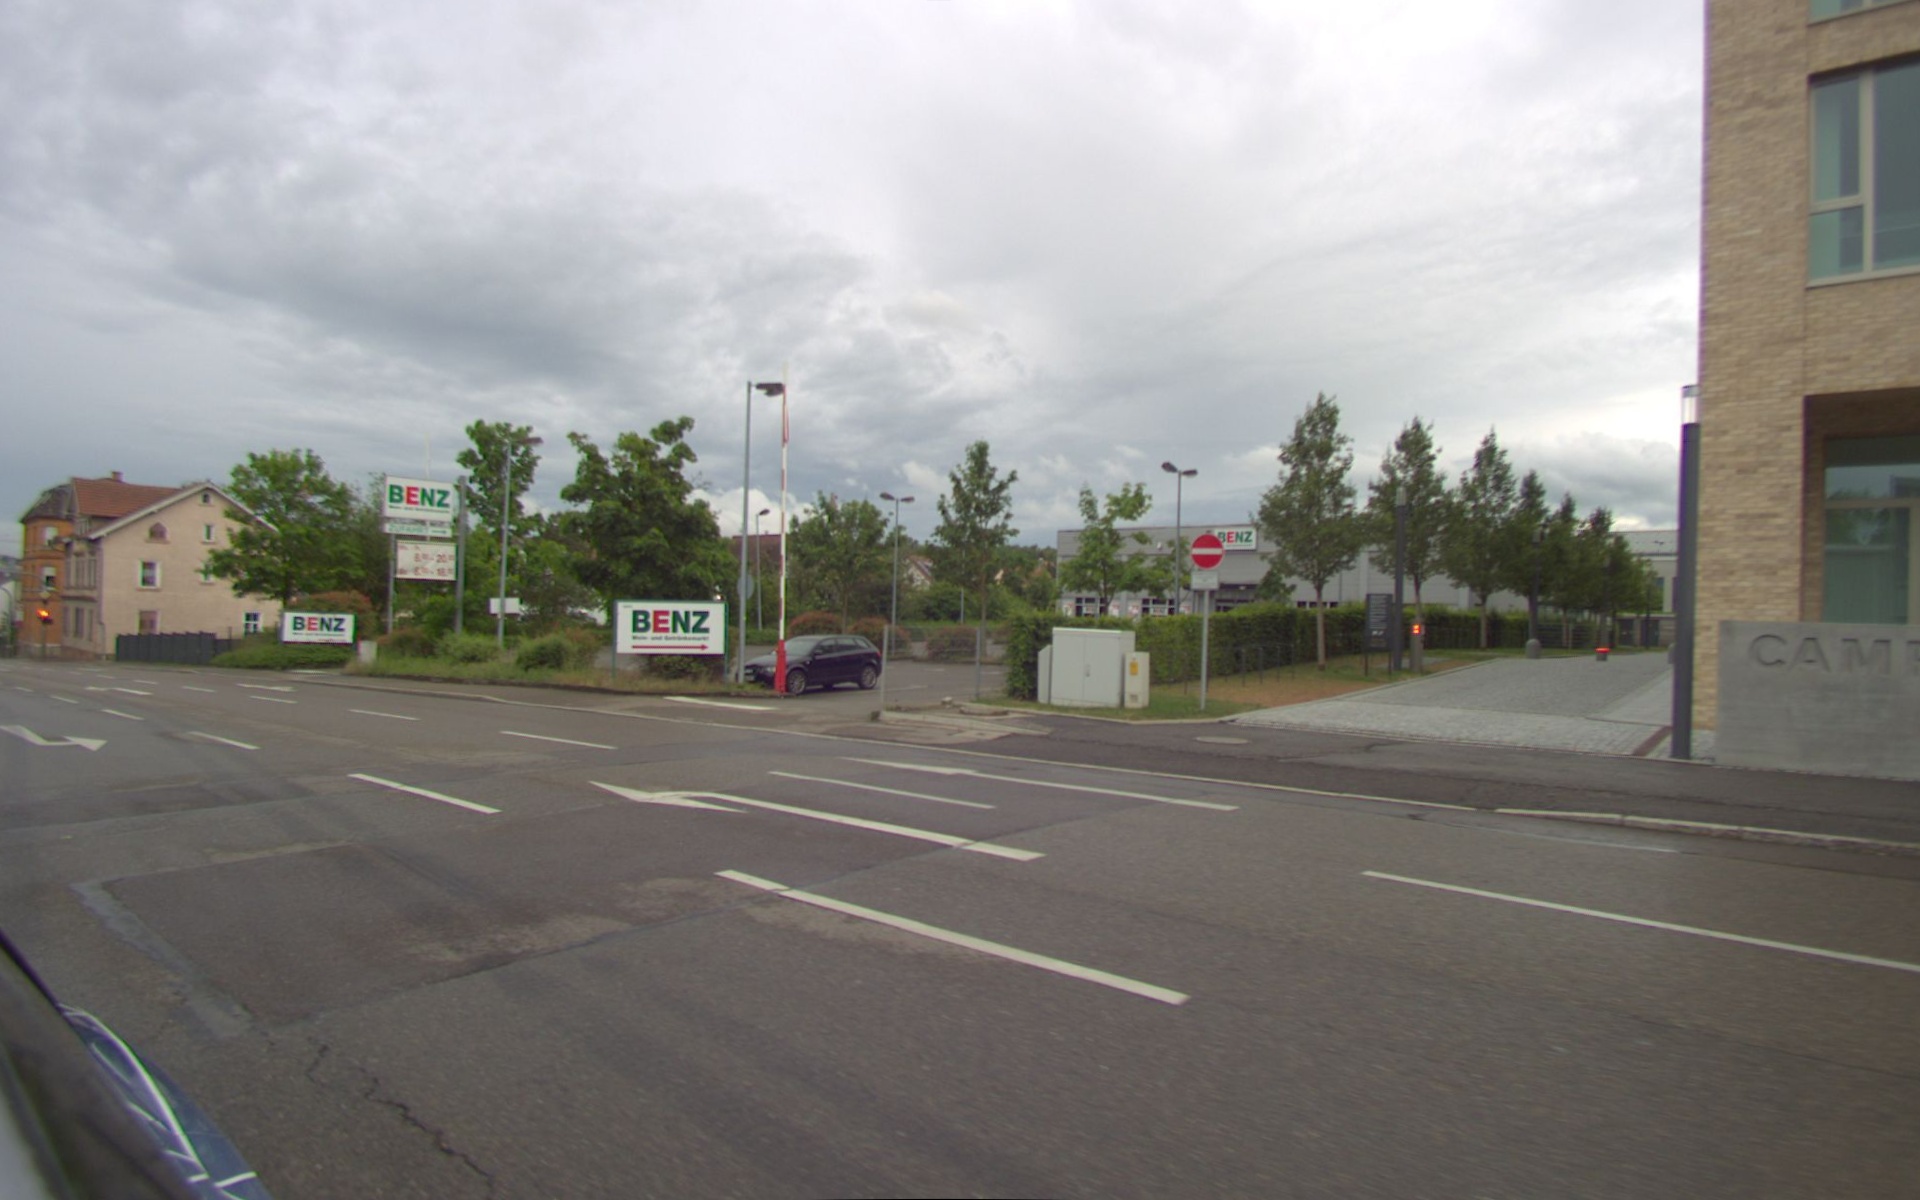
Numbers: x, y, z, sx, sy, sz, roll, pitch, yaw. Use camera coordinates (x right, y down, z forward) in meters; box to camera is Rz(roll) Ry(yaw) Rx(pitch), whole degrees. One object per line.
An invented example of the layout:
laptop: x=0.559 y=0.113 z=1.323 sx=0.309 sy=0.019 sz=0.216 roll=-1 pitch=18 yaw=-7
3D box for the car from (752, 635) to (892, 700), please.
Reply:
car: x=-3.494 y=1.680 z=26.026 sx=1.543 sy=1.475 sz=3.451 roll=-2 pitch=-2 yaw=40
